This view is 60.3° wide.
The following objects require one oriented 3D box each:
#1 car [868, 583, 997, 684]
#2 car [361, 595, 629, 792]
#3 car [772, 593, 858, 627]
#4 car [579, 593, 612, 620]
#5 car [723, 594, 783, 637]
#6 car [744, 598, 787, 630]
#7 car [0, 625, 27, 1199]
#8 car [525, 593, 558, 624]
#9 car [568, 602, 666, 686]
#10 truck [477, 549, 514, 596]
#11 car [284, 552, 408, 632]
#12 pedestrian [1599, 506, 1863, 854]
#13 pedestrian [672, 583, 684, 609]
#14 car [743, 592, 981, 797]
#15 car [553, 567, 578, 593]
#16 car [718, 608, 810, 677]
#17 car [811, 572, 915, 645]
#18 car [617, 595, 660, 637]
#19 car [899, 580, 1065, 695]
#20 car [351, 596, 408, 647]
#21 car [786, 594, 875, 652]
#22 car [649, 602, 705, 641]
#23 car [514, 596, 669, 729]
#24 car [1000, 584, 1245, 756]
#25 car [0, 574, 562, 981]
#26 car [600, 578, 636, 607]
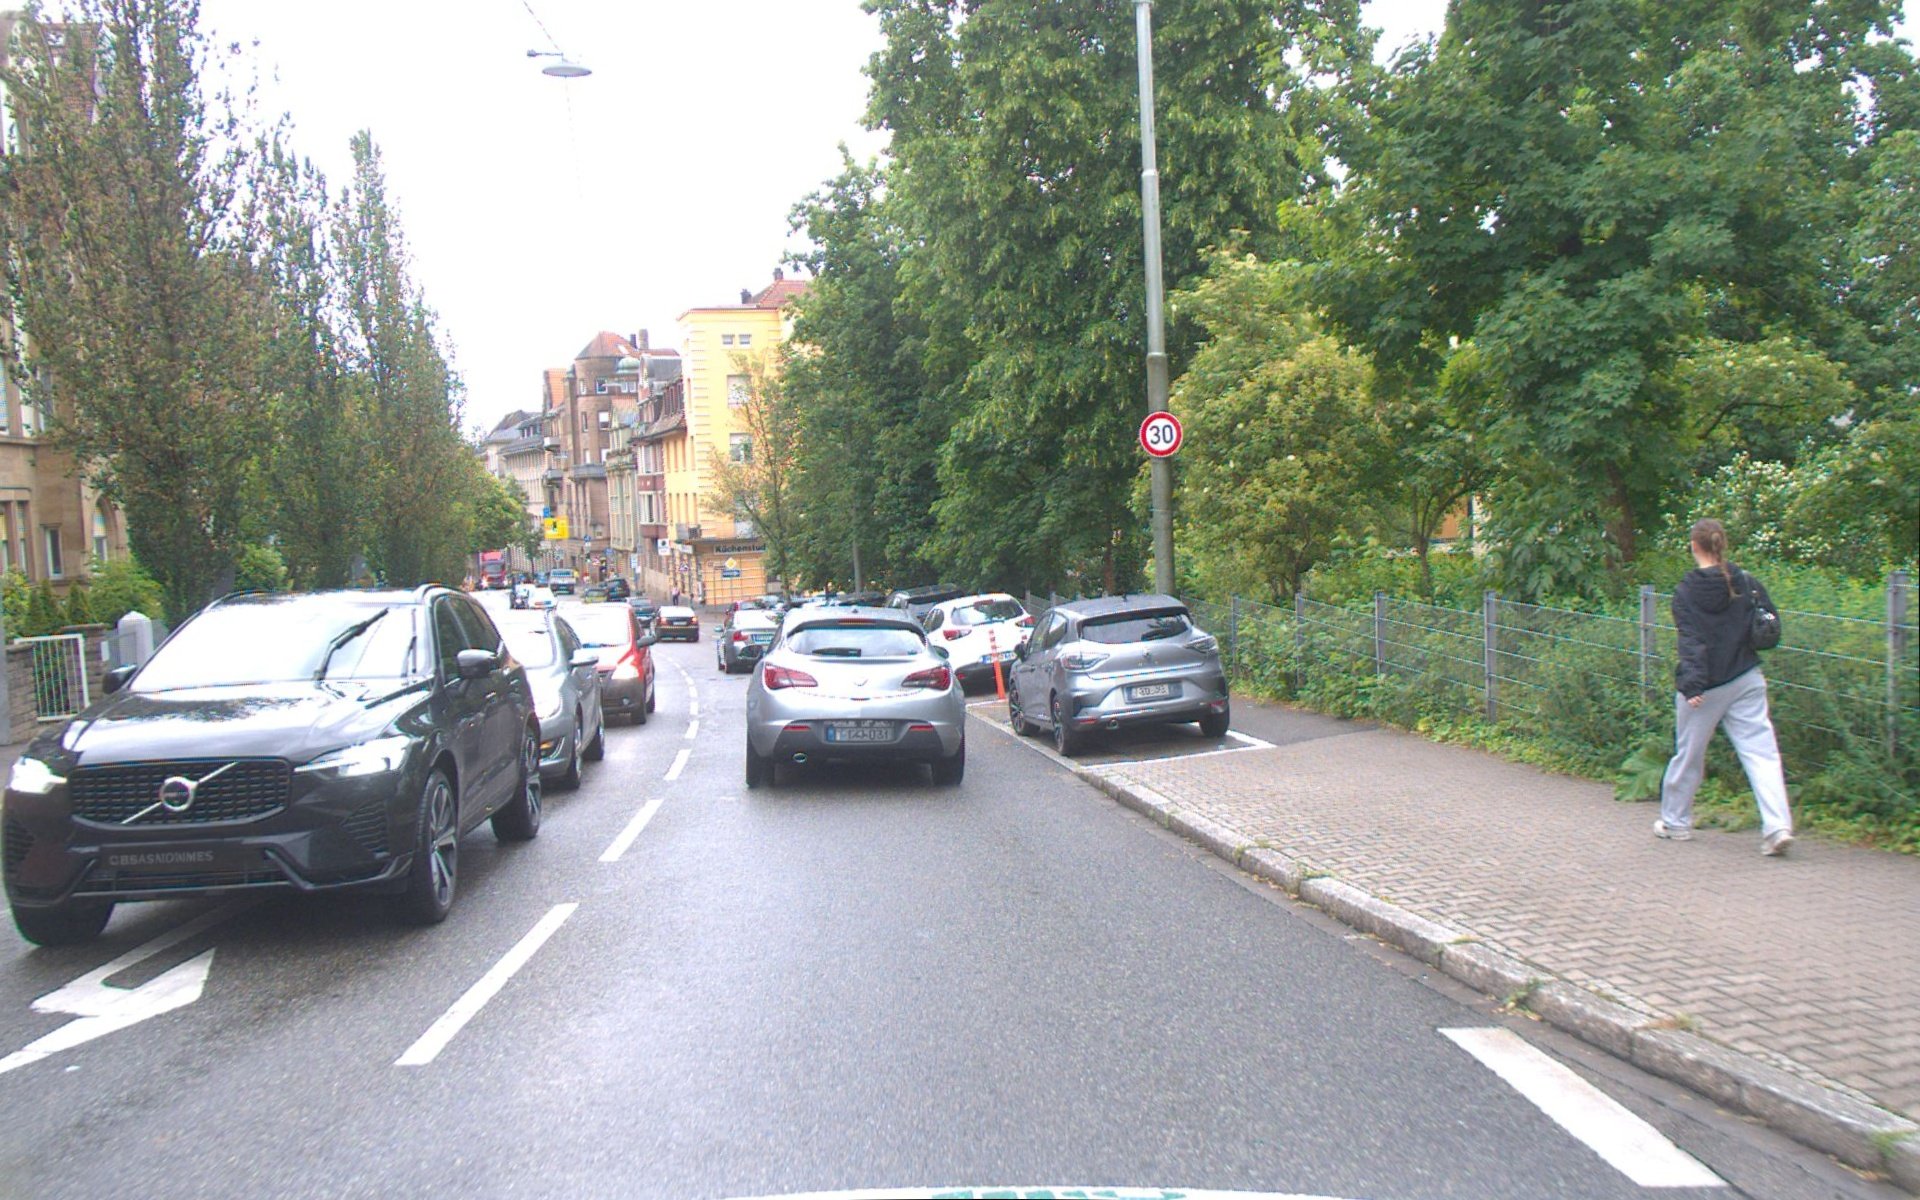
[{"bbox_3d":[-0.628,0.609,32.964,1.788,1.712,4.793,-5,1,-9],"label":"car"},{"bbox_3d":[-4.079,0.740,15.150,1.740,1.523,4.255,0,0,-7],"label":"car"},{"bbox_3d":[-6.831,0.493,77.793,3.714,1.455,1.773,2,-2,-18],"label":"car"},{"bbox_3d":[-22.075,0.405,100.080,1.614,1.563,3.699,-2,0,-17],"label":"car"},{"bbox_3d":[-8.502,0.632,67.646,1.786,1.492,3.984,-7,1,-15],"label":"car"},{"bbox_3d":[-9.924,0.696,84.501,1.740,1.454,3.786,-1,2,-1],"label":"car"},{"bbox_3d":[-3.146,0.825,2.112,1.779,1.454,3.997,-3,0,-4],"label":"car"},{"bbox_3d":[-25.358,0.504,100.363,1.792,1.679,3.986,-4,1,-13],"label":"car"},{"bbox_3d":[-7.617,0.924,37.046,1.812,1.611,4.270,-4,1,-9],"label":"car"},{"bbox_3d":[-45.491,-2.749,161.809,2.747,4.203,10.795,-2,3,-19],"label":"truck"},{"bbox_3d":[-13.538,-0.154,36.683,1.781,1.641,3.992,-1,-1,-9],"label":"car"},{"bbox_3d":[3.947,0.387,8.545,0.751,1.633,0.964,-5,0,-5],"label":"pedestrian"},{"bbox_3d":[-17.130,-0.247,100.511,0.603,1.522,0.550,-2,3,-14],"label":"pedestrian"},{"bbox_3d":[-1.012,0.718,14.854,1.781,1.454,3.993,-2,1,-8],"label":"car"},{"bbox_3d":[-31.751,-1.608,133.058,1.753,1.887,3.981,-2,-1,-17],"label":"car"},{"bbox_3d":[-4.550,0.948,37.996,1.745,1.455,3.774,-1,0,-12],"label":"car"},{"bbox_3d":[-2.590,0.243,43.088,1.942,1.637,4.471,-5,0,-12],"label":"car"},{"bbox_3d":[-15.675,0.746,80.502,1.614,1.718,3.700,-2,4,-17],"label":"car"},{"bbox_3d":[0.269,0.615,27.310,1.784,1.520,3.988,-8,0,-11],"label":"car"},{"bbox_3d":[-21.868,0.803,62.397,1.761,1.679,4.175,-6,1,-18],"label":"car"},{"bbox_3d":[-3.861,0.689,48.794,1.943,1.477,4.100,-5,0,-13],"label":"car"},{"bbox_3d":[-11.176,0.828,65.080,1.739,1.439,3.699,-1,1,-17],"label":"car"},{"bbox_3d":[-4.933,0.774,22.575,1.623,1.596,3.994,-2,0,-7],"label":"car"},{"bbox_3d":[1.567,0.656,17.253,1.619,1.428,3.806,-6,0,-7],"label":"car"},{"bbox_3d":[-3.461,0.725,9.118,1.839,1.602,4.580,-2,0,-6],"label":"car"},{"bbox_3d":[-24.057,-0.542,116.260,1.963,1.717,3.983,-8,1,-16],"label":"car"}]
